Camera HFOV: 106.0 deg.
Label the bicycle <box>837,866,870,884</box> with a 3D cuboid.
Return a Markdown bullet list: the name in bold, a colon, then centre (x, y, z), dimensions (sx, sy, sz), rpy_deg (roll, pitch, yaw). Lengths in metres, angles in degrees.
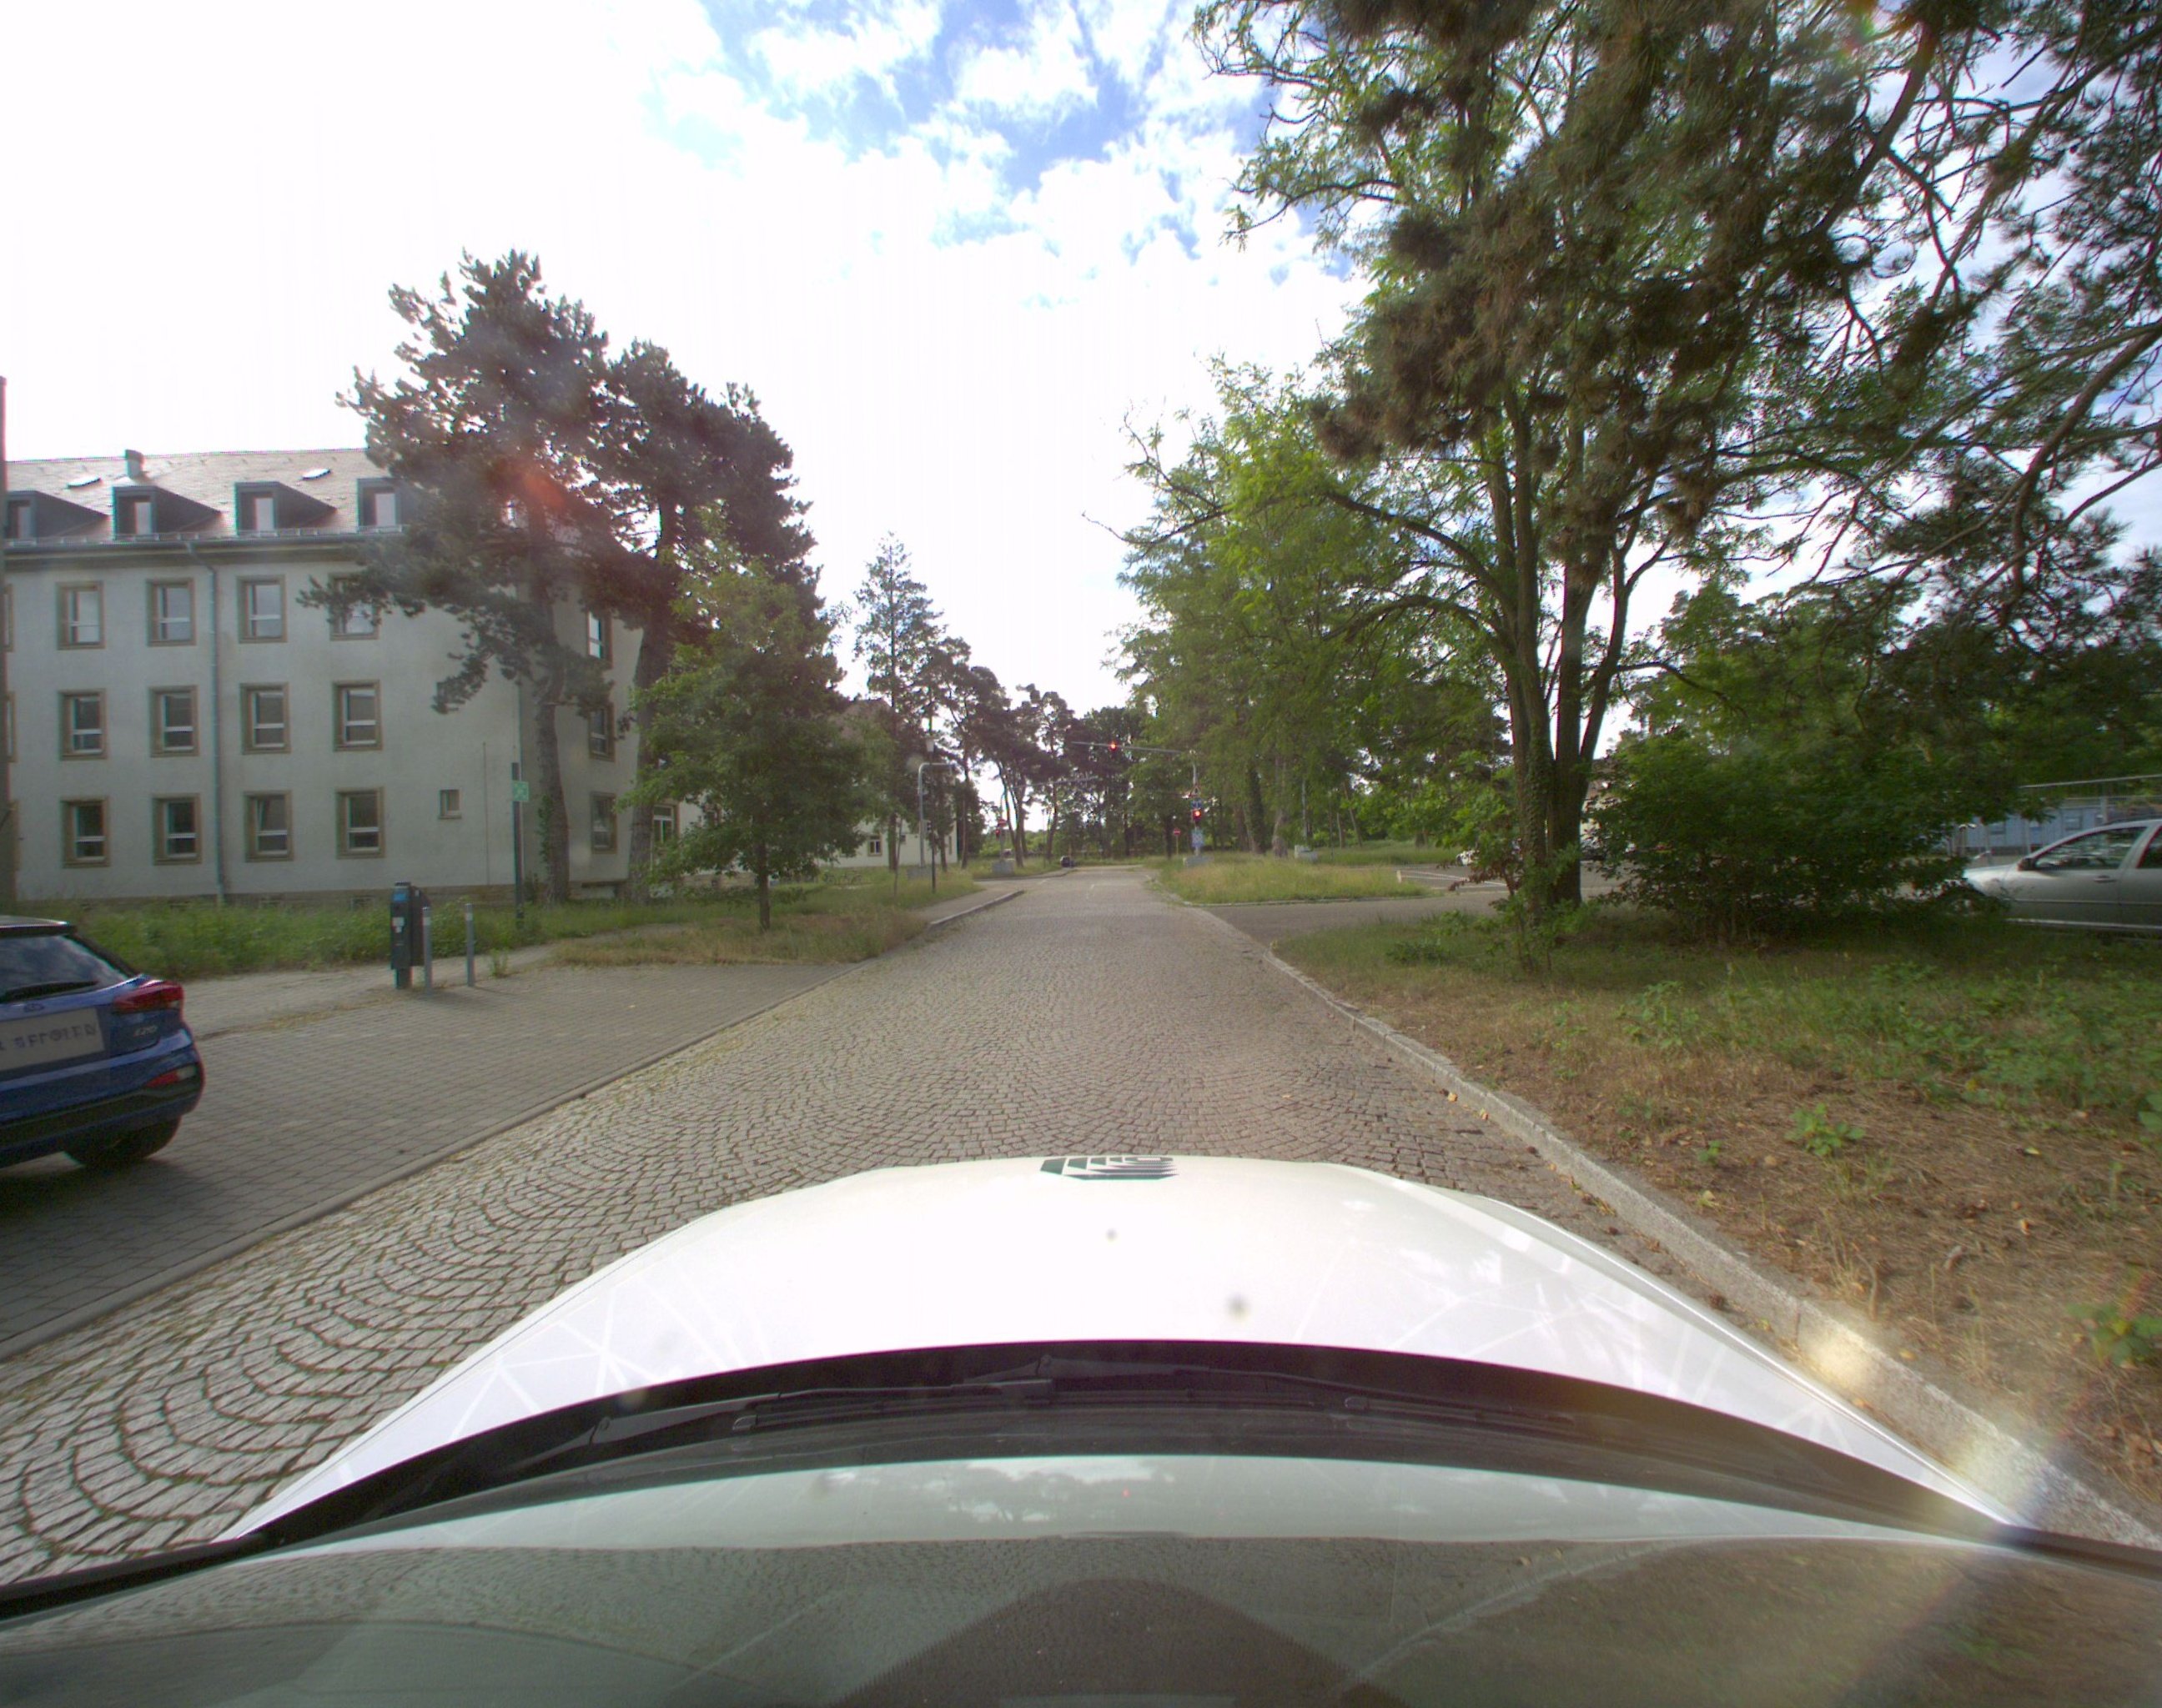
- **bicycle**: centre (-14.813, 1.376, 52.961), dimensions (1.848, 1.076, 0.832), rpy_deg (-2, 0, 3)

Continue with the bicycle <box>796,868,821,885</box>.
- **bicycle**: centre (-18.135, 1.490, 54.253), dimensions (0.733, 1.076, 2.274), rpy_deg (-2, 0, 2)

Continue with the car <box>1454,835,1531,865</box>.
- **car**: centre (23.055, -0.173, 45.861), dimensions (1.988, 1.481, 4.422), rpy_deg (-2, -1, -2)

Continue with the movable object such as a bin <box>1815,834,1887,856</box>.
- **movable object such as a bin**: centre (31.446, -0.371, 33.298), dimensions (1.179, 0.825, 1.957), rpy_deg (-2, 0, 6)

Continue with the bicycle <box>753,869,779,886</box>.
- **bicycle**: centre (-20.965, 1.549, 54.212), dimensions (0.733, 1.076, 2.274), rpy_deg (-2, 0, 2)

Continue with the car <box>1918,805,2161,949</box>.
- **car**: centre (11.570, 0.241, 8.453), dimensions (1.640, 1.427, 4.073), rpy_deg (1, 0, 1)

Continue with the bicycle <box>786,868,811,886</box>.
- **bicycle**: centre (-18.778, 1.518, 54.188), dimensions (0.733, 1.076, 2.274), rpy_deg (-2, 0, 2)

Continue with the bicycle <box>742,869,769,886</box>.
- **bicycle**: centre (-21.693, 1.570, 54.301), dimensions (0.733, 1.076, 2.274), rpy_deg (-2, 0, 2)

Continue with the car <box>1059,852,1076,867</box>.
- **car**: centre (-1.807, 0.698, 110.028), dimensions (2.048, 1.846, 4.001), rpy_deg (-2, 0, 1)

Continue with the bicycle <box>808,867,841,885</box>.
- **bicycle**: centre (-16.696, 1.430, 52.967), dimensions (1.848, 1.076, 0.739), rpy_deg (-2, 0, 3)

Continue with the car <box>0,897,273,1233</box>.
- **car**: centre (-6.822, 1.021, 4.113), dimensions (3.748, 1.478, 1.854), rpy_deg (-1, 0, 4)
